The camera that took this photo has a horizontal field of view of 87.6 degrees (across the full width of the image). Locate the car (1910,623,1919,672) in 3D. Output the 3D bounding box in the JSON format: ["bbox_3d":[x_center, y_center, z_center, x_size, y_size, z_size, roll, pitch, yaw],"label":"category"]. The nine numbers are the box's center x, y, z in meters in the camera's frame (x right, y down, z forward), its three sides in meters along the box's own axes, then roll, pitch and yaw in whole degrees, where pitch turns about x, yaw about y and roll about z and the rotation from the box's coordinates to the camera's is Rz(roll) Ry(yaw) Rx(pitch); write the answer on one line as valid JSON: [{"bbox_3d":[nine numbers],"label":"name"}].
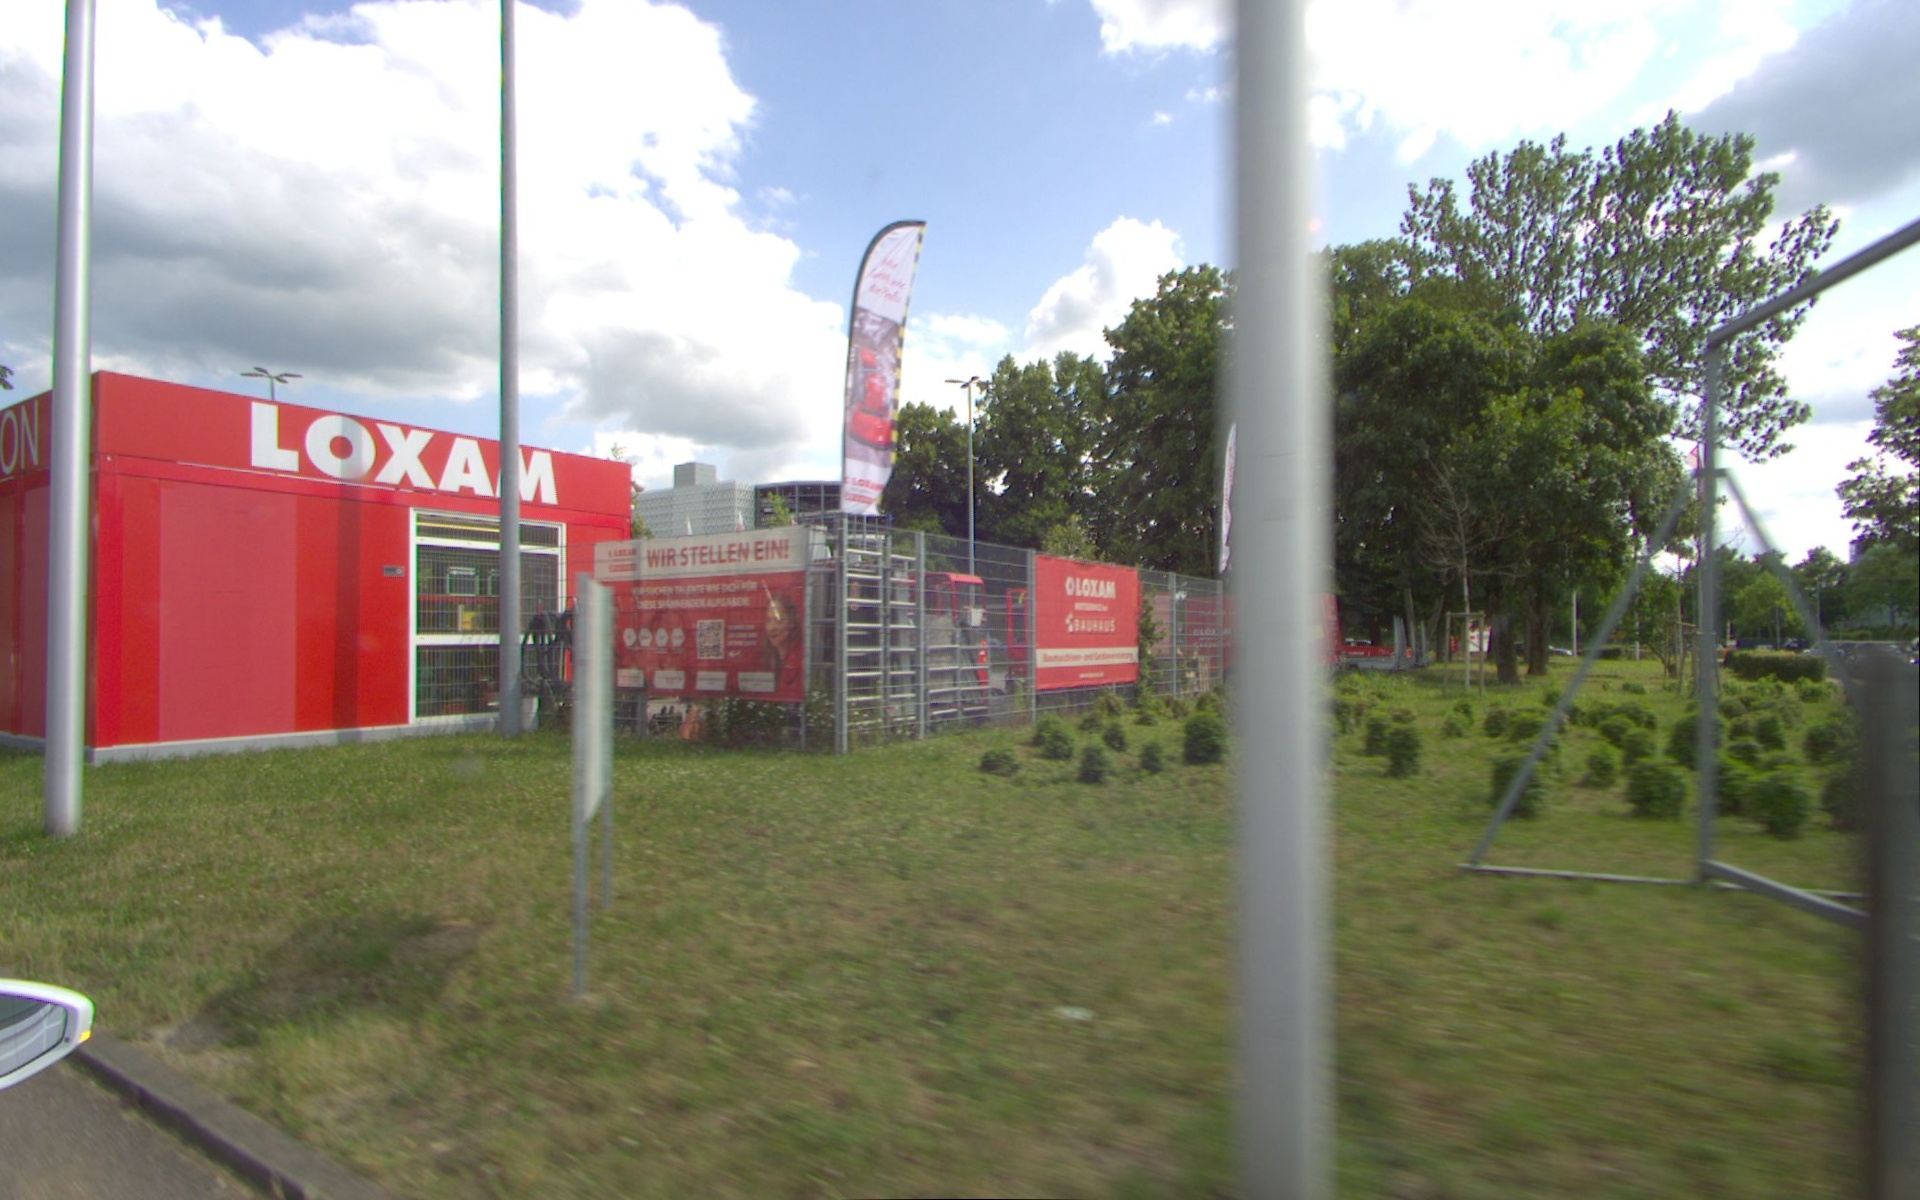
[{"bbox_3d":[41.391,1.947,41.831,1.977,2.038,3.972,-5,-4,38],"label":"car"}]

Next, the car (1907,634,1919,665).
[{"bbox_3d":[51.019,2.588,51.801,1.970,1.603,3.984,-1,-2,29],"label":"car"}]

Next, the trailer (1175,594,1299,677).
[{"bbox_3d":[7.110,0.910,25.752,2.758,2.039,1.491,-1,-2,36],"label":"trailer"}]

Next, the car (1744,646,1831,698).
[{"bbox_3d":[27.135,2.370,32.942,1.695,1.558,3.670,-5,-6,33],"label":"car"}]

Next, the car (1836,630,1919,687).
[{"bbox_3d":[35.373,2.219,38.588,1.976,2.038,3.975,-5,-4,36],"label":"car"}]

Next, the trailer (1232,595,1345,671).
[{"bbox_3d":[9.152,0.920,27.928,2.755,2.039,1.493,-1,-2,32],"label":"trailer"}]
